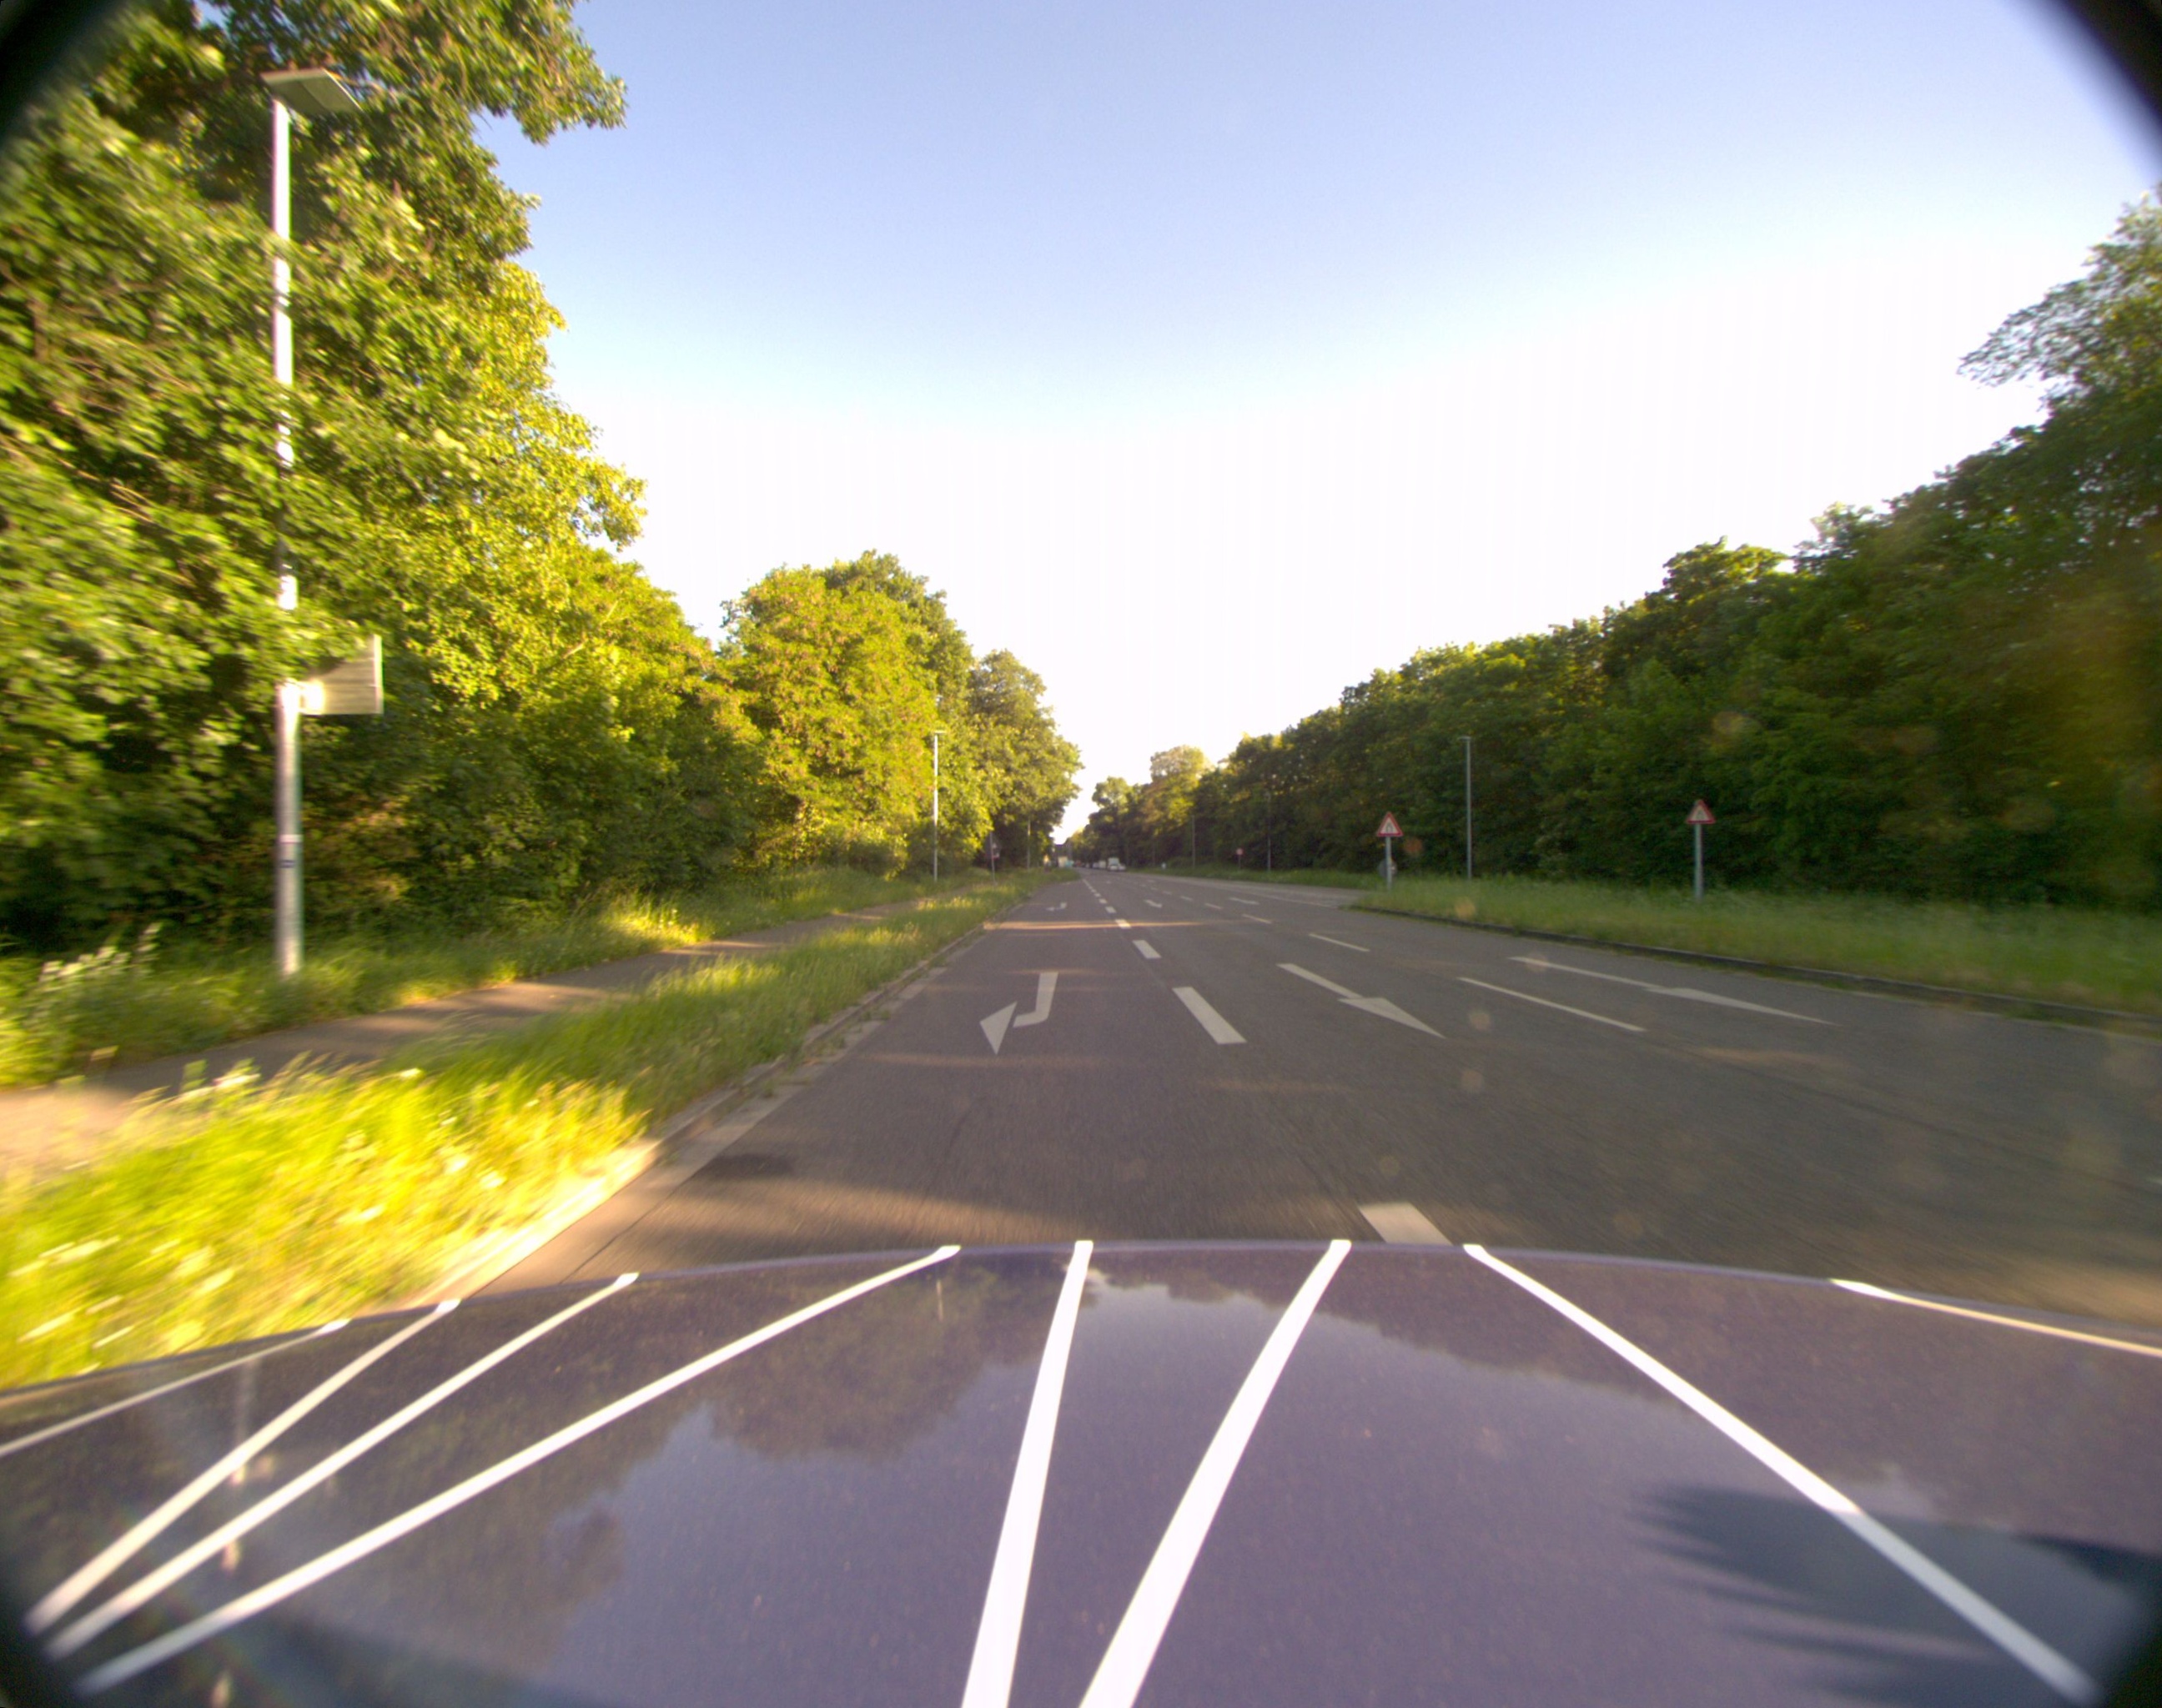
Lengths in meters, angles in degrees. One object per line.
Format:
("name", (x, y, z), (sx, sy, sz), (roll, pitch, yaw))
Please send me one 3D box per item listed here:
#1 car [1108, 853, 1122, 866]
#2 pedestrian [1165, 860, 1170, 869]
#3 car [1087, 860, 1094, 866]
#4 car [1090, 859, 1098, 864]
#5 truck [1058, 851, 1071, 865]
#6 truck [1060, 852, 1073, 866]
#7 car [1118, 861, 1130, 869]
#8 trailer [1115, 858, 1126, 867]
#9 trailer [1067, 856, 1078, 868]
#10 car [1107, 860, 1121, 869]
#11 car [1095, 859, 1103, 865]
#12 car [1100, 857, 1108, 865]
("car", (7.570, 1.315, 170.226), (2.461, 2.830, 4.797), (1, 0, -4))
("pedestrian", (14.743, 1.768, 129.727), (0.713, 1.556, 0.826), (1, 0, -1))
("car", (3.081, 2.793, 241.036), (1.999, 2.001, 3.999), (-1, -1, -4))
("car", (3.921, 2.232, 229.395), (1.807, 1.496, 3.911), (1, 0, -4))
("truck", (-3.861, 0.944, 175.193), (2.707, 3.218, 7.125), (1, 0, -4))
("truck", (-3.077, 1.153, 164.262), (2.390, 2.855, 5.596), (-3, 0, -4))
("car", (8.595, 2.193, 152.896), (1.915, 1.455, 4.010), (1, 0, -4))
("trailer", (8.194, 1.703, 157.942), (1.807, 1.719, 3.646), (1, 0, -4))
("trailer", (-1.676, 1.502, 147.528), (1.870, 2.165, 4.127), (-2, 0, -4))
("car", (5.890, 1.884, 135.813), (1.834, 1.446, 4.478), (2, -1, -5))
("car", (4.981, 2.234, 214.323), (1.807, 1.496, 3.911), (1, 0, -4))
("car", (6.050, 1.772, 201.927), (1.692, 2.089, 4.631), (1, 0, -4))
